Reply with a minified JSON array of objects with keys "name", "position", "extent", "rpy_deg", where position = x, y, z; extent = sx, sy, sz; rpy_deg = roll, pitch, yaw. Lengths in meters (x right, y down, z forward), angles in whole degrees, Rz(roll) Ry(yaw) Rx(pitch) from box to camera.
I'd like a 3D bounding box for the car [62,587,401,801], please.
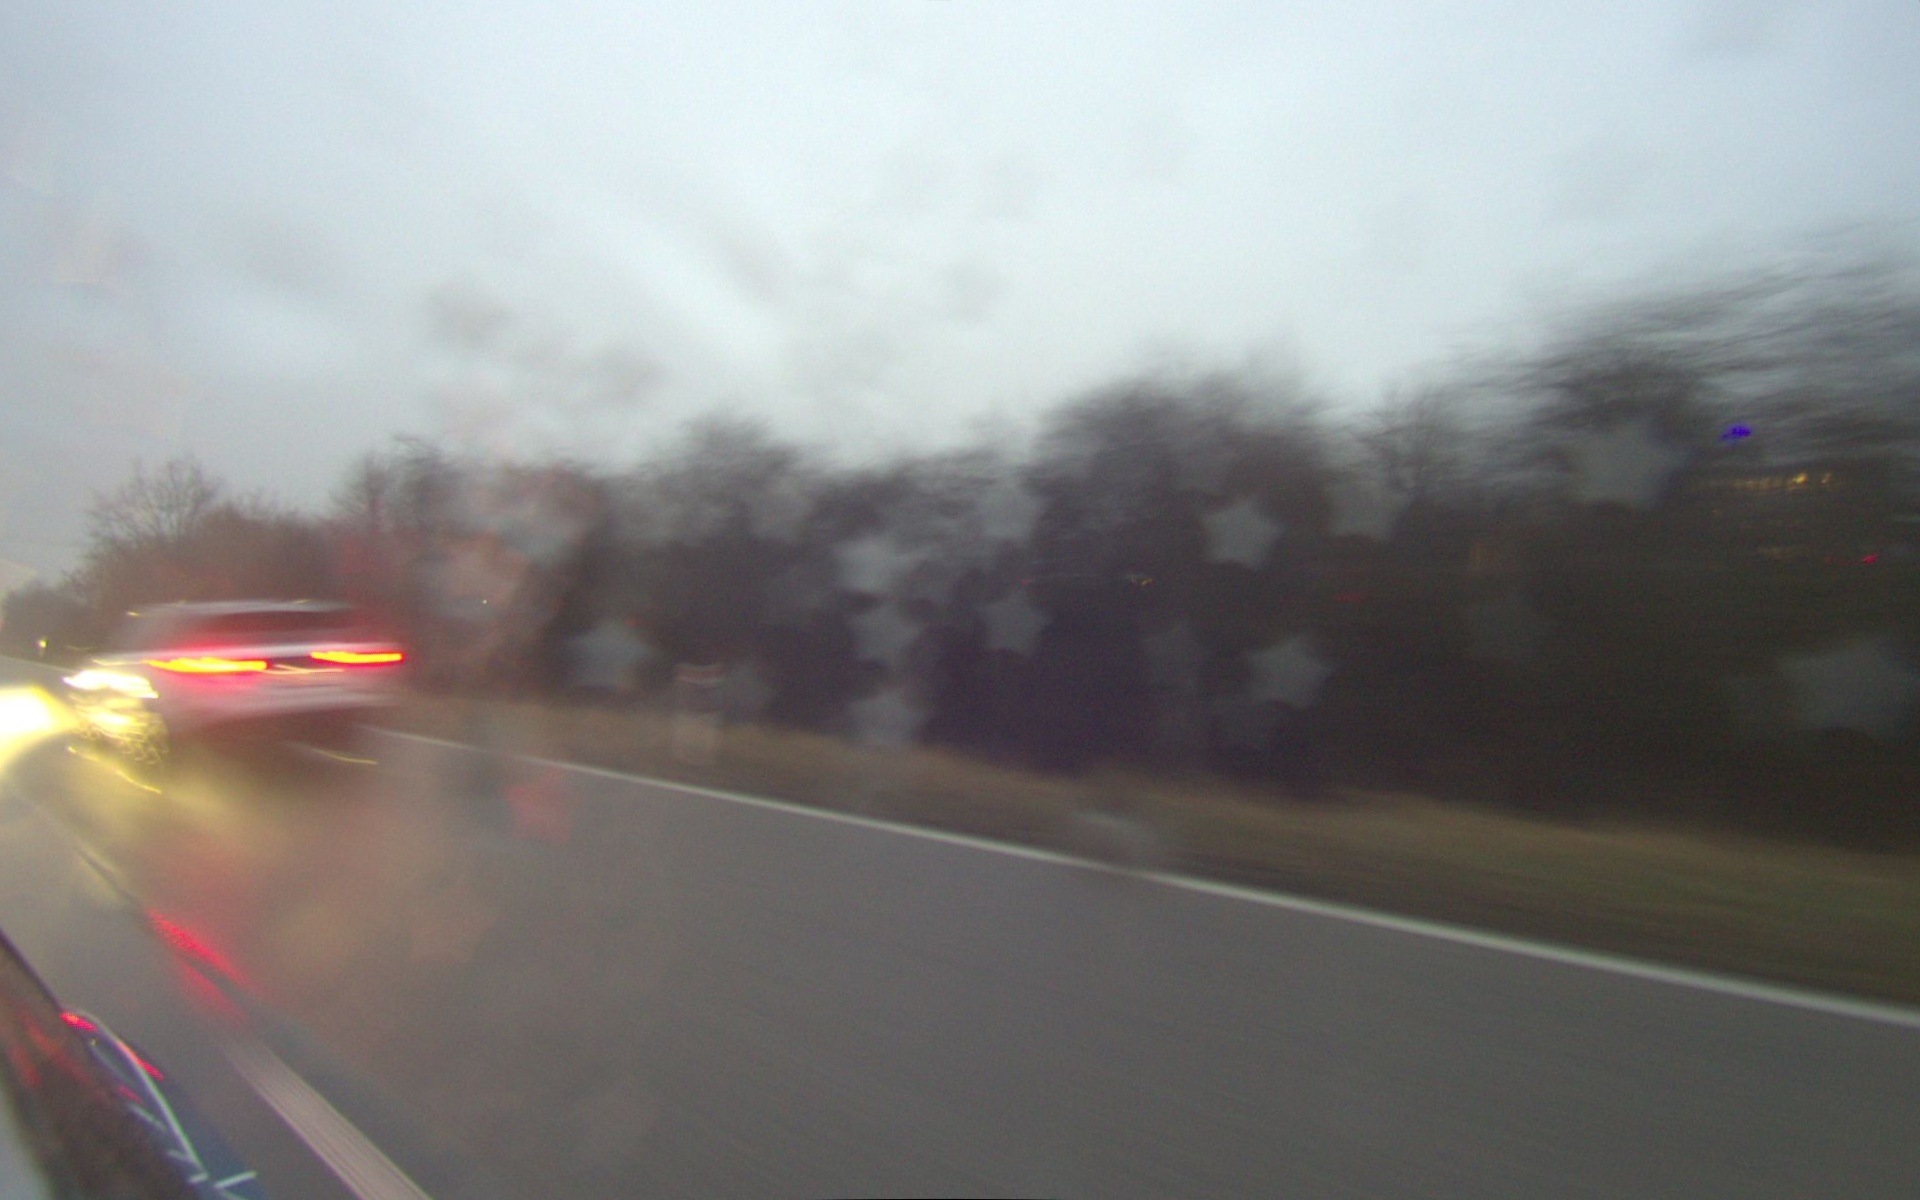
[{"name":"car","position":[-7.524,0.800,10.271],"extent":[4.466,1.713,1.843],"rpy_deg":[-2,-1,41]}]
